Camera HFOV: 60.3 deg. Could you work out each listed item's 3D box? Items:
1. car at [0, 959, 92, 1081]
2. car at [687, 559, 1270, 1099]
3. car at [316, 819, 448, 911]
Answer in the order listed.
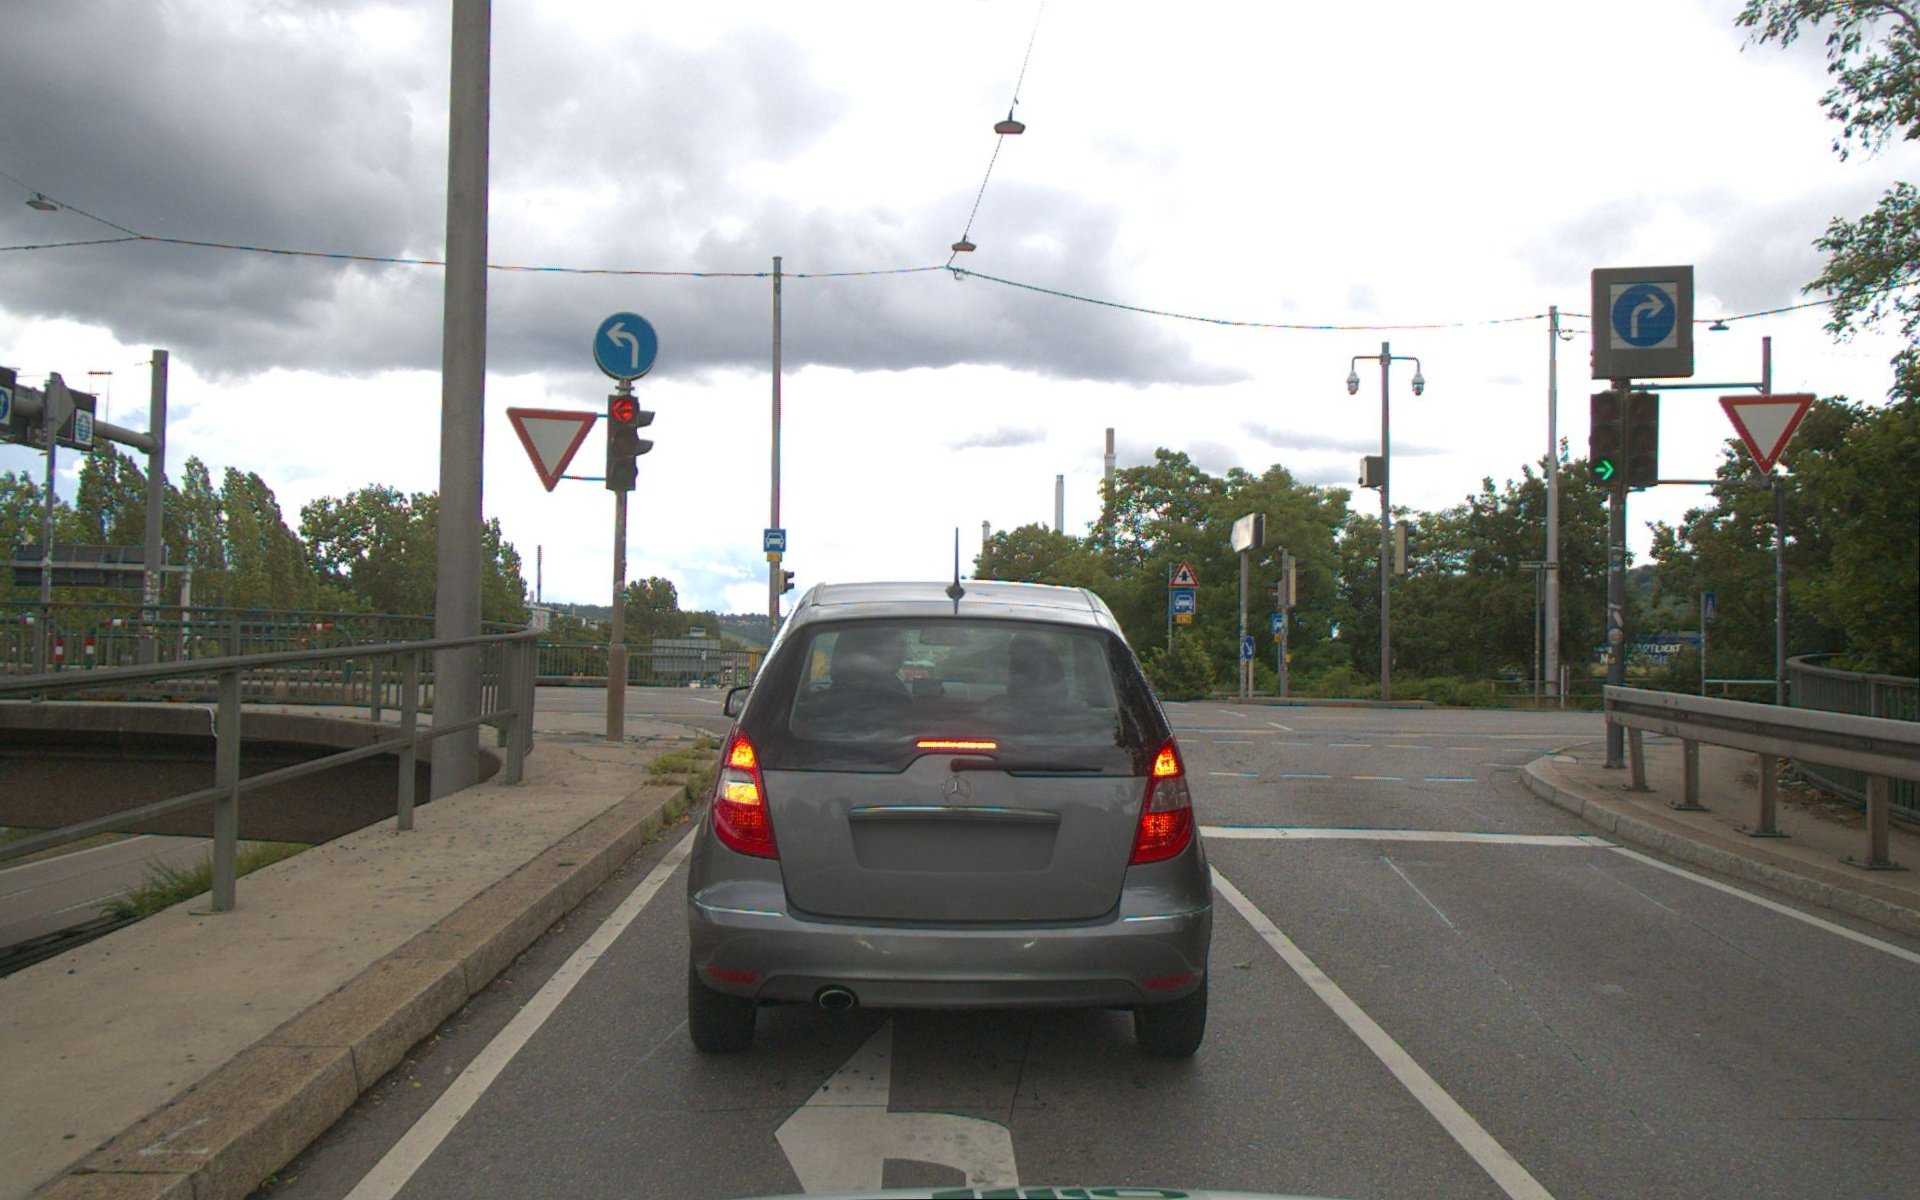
[{"bbox_3d":[-16.132,6.984,26.975,1.585,1.447,4.414,-1,-2,0],"label":"car"},{"bbox_3d":[0.040,0.687,6.667,1.704,1.570,3.540,1,0,-1],"label":"car"},{"bbox_3d":[-16.714,7.636,48.156,1.952,2.049,5.253,0,-2,0],"label":"car"}]
